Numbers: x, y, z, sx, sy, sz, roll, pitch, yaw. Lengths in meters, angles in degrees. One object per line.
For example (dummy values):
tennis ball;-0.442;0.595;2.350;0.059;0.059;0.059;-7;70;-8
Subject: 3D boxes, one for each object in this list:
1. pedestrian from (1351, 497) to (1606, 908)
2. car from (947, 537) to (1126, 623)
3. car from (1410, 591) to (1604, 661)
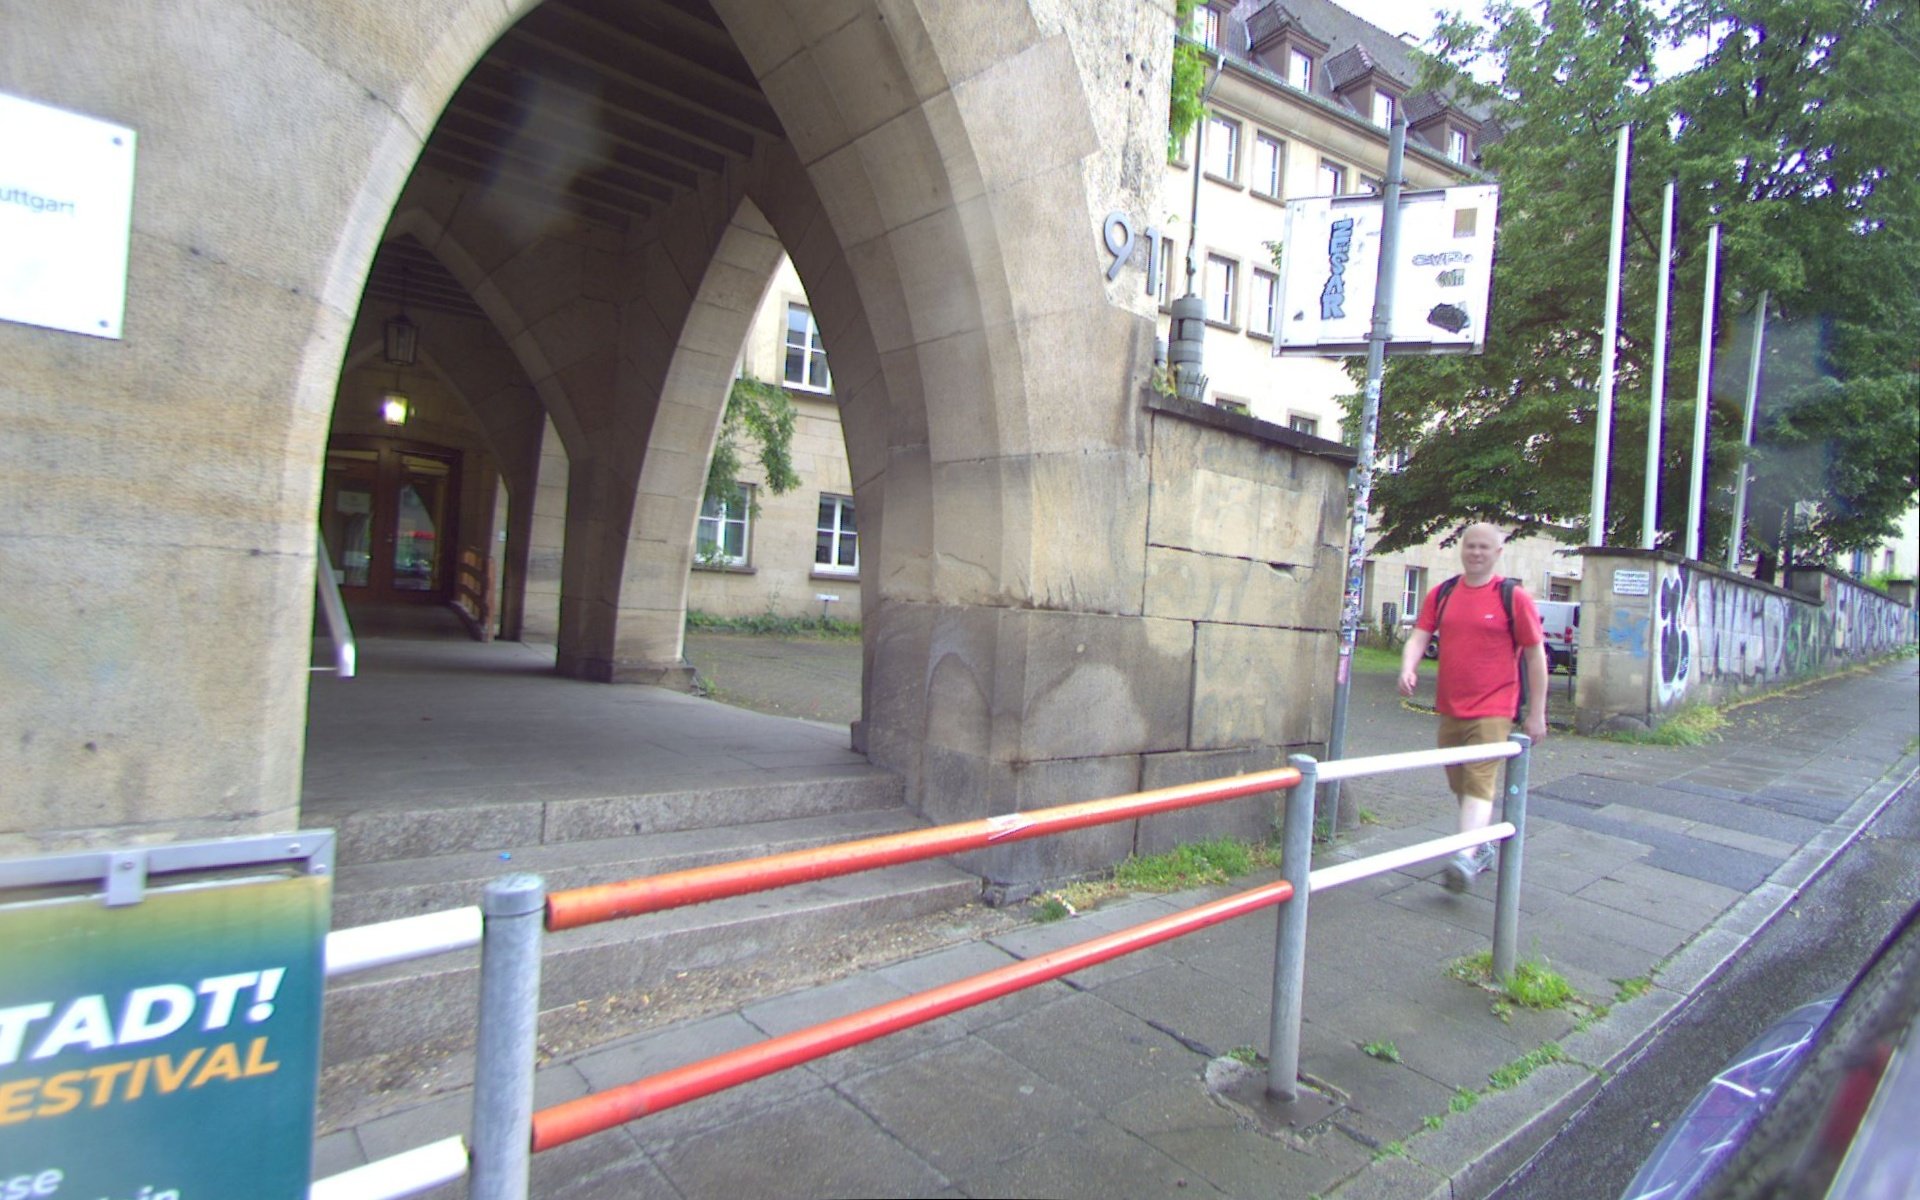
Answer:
pedestrian;2.514;0.423;4.922;0.804;1.785;0.748;1;4;-41
car;1.348;-0.348;19.540;1.580;1.488;3.921;0;0;-28
car;15.211;0.672;28.411;1.786;1.802;4.538;0;0;-29
